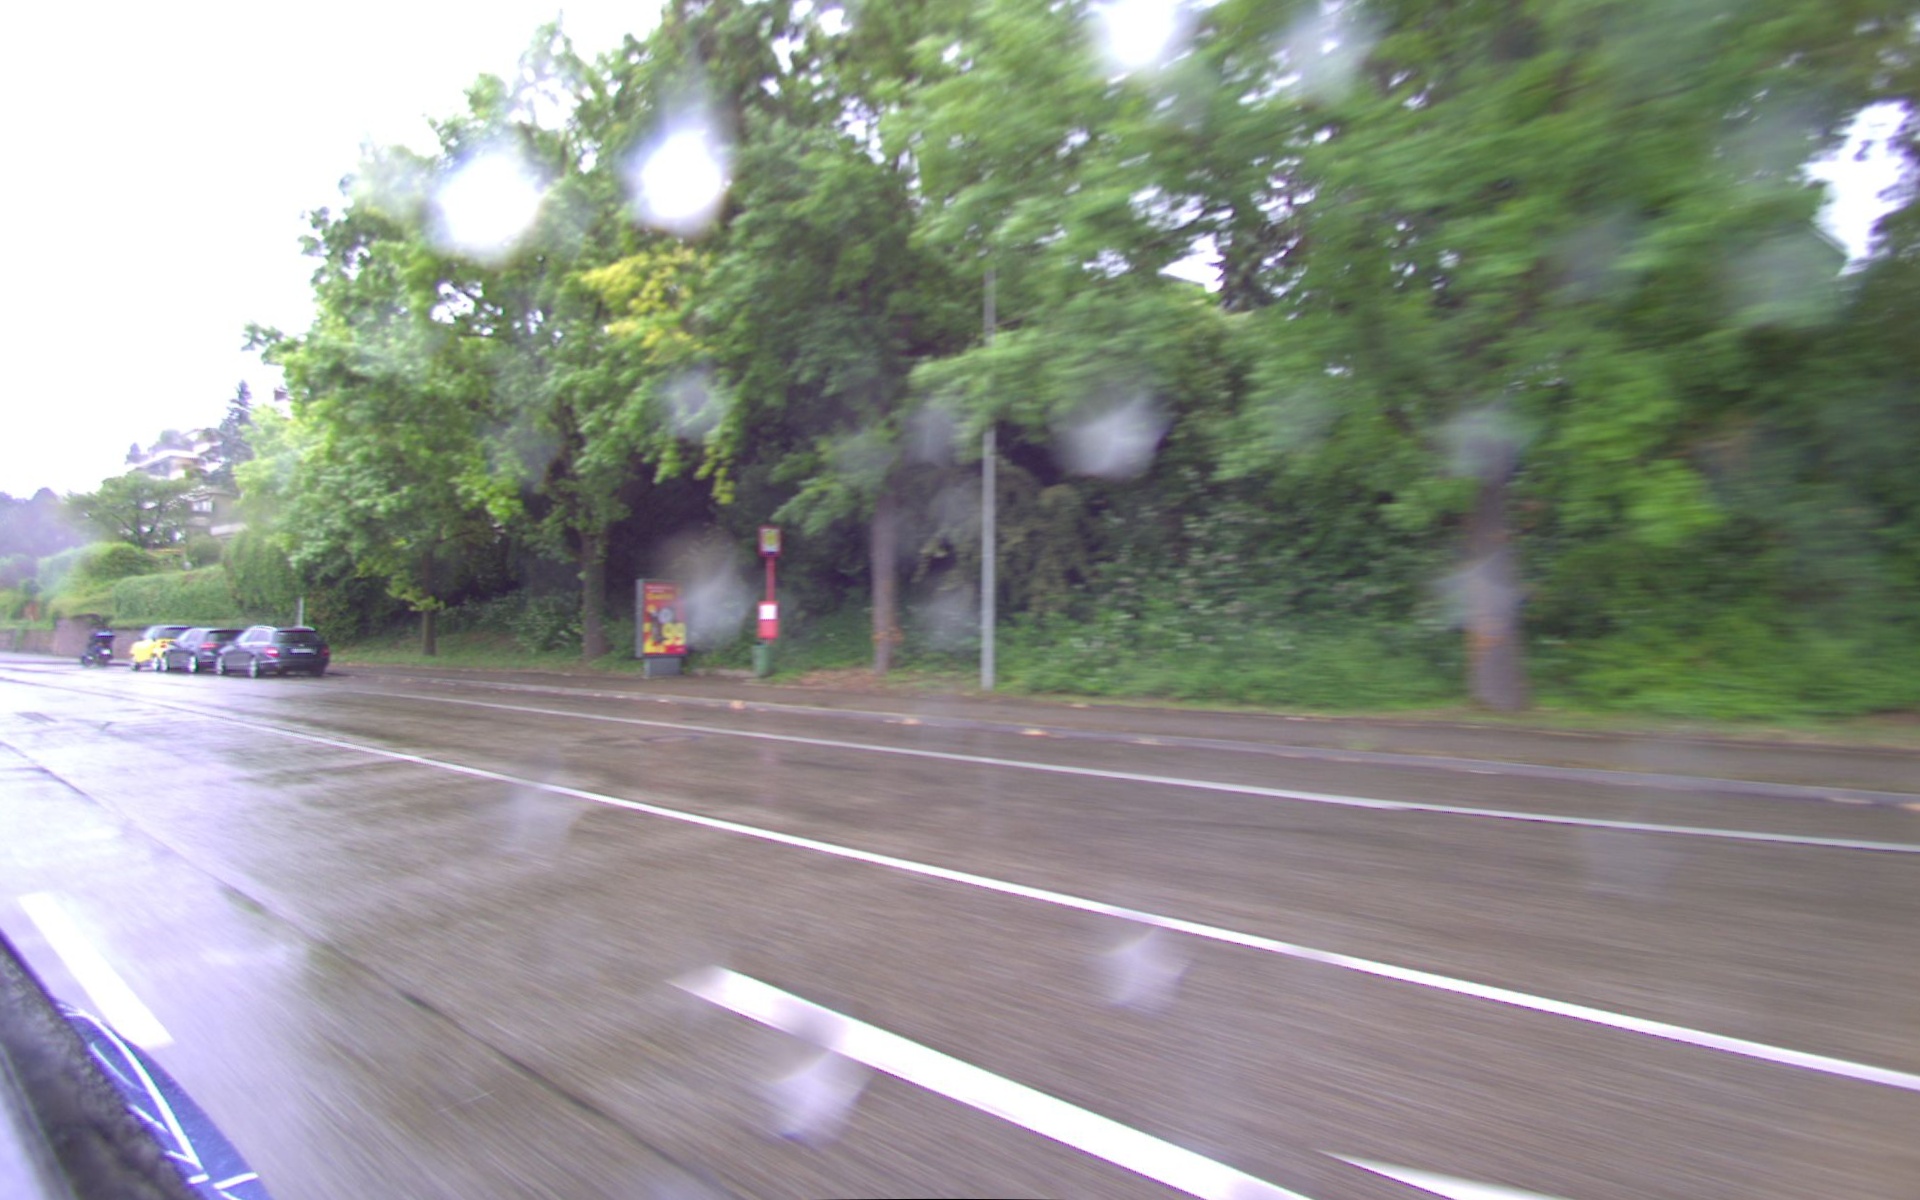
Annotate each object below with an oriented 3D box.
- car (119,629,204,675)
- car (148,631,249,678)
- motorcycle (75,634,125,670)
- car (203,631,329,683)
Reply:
[{"bbox_3d":[-27.760,1.788,35.183,2.810,1.549,1.422,-1,-2,31],"label":"car"},{"bbox_3d":[-24.676,1.731,32.751,4.094,1.430,1.421,-2,-2,35],"label":"car"},{"bbox_3d":[-33.345,1.995,39.236,2.492,1.351,0.830,-1,-2,34],"label":"motorcycle"},{"bbox_3d":[-20.383,1.625,29.658,4.734,1.430,1.671,-2,-2,38],"label":"car"}]
